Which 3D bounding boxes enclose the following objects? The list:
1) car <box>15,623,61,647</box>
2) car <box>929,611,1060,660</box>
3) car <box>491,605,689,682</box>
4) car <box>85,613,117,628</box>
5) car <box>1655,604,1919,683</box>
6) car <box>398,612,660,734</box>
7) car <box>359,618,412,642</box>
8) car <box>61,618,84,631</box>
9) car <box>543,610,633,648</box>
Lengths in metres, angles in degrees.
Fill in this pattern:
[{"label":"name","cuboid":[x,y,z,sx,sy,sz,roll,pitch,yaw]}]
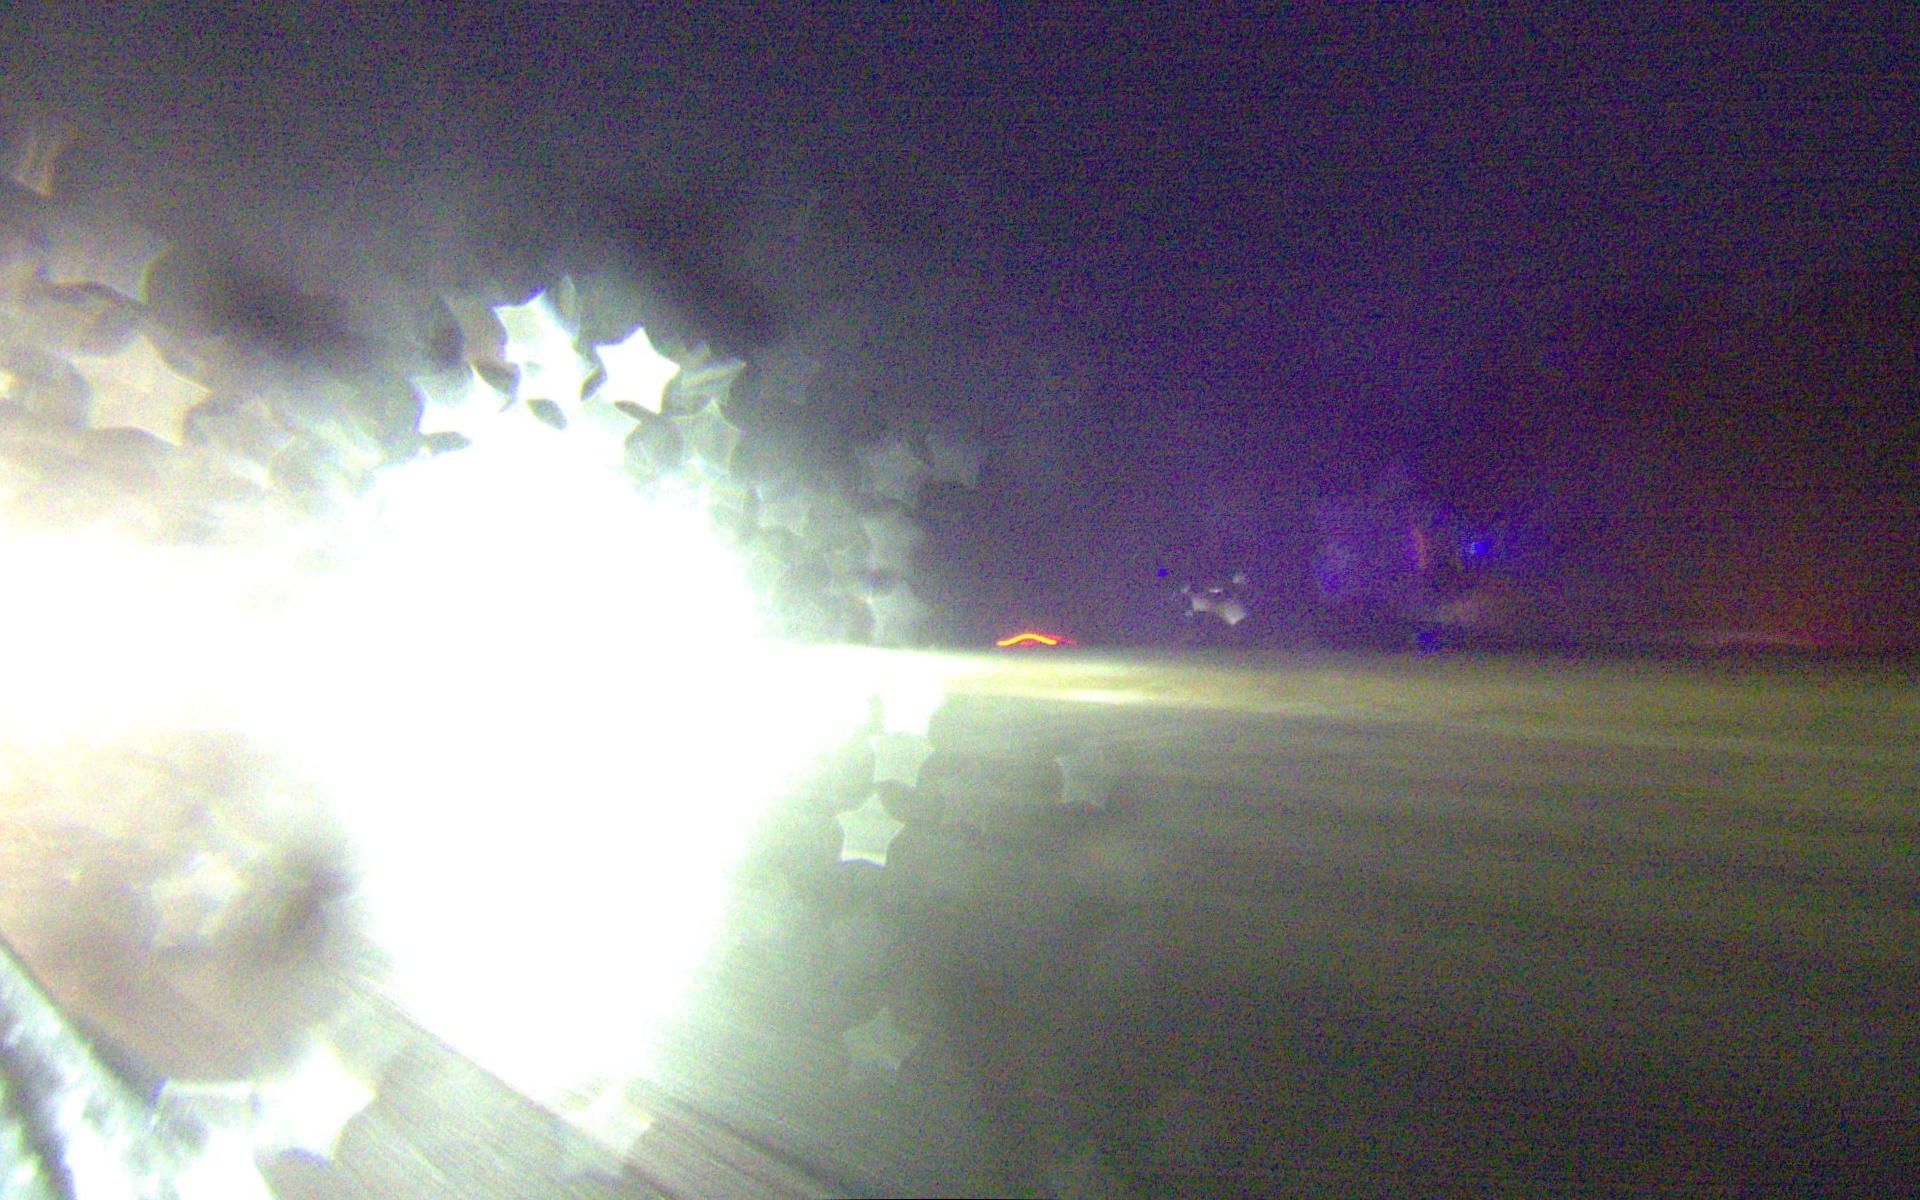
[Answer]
[{"label":"car","cuboid":[-66.691,2.512,73.173,4.587,1.572,1.972,0,1,42]},{"label":"car","cuboid":[1.160,1.200,35.771,4.458,1.569,1.860,0,1,41]},{"label":"car","cuboid":[-8.338,0.870,22.549,5.164,1.487,1.972,0,1,42]},{"label":"car","cuboid":[-92.665,2.182,109.129,4.457,1.569,1.861,0,1,40]},{"label":"car","cuboid":[18.346,0.892,22.619,4.459,1.569,1.860,0,1,42]},{"label":"car","cuboid":[-6.319,0.927,14.670,3.999,1.452,1.973,0,1,42]},{"label":"car","cuboid":[-41.103,2.097,72.391,4.457,1.569,1.861,0,1,40]},{"label":"car","cuboid":[-128.163,3.491,146.208,4.560,1.734,1.861,0,1,41]},{"label":"car","cuboid":[-16.942,1.290,45.994,4.457,1.569,1.861,0,1,40]}]
